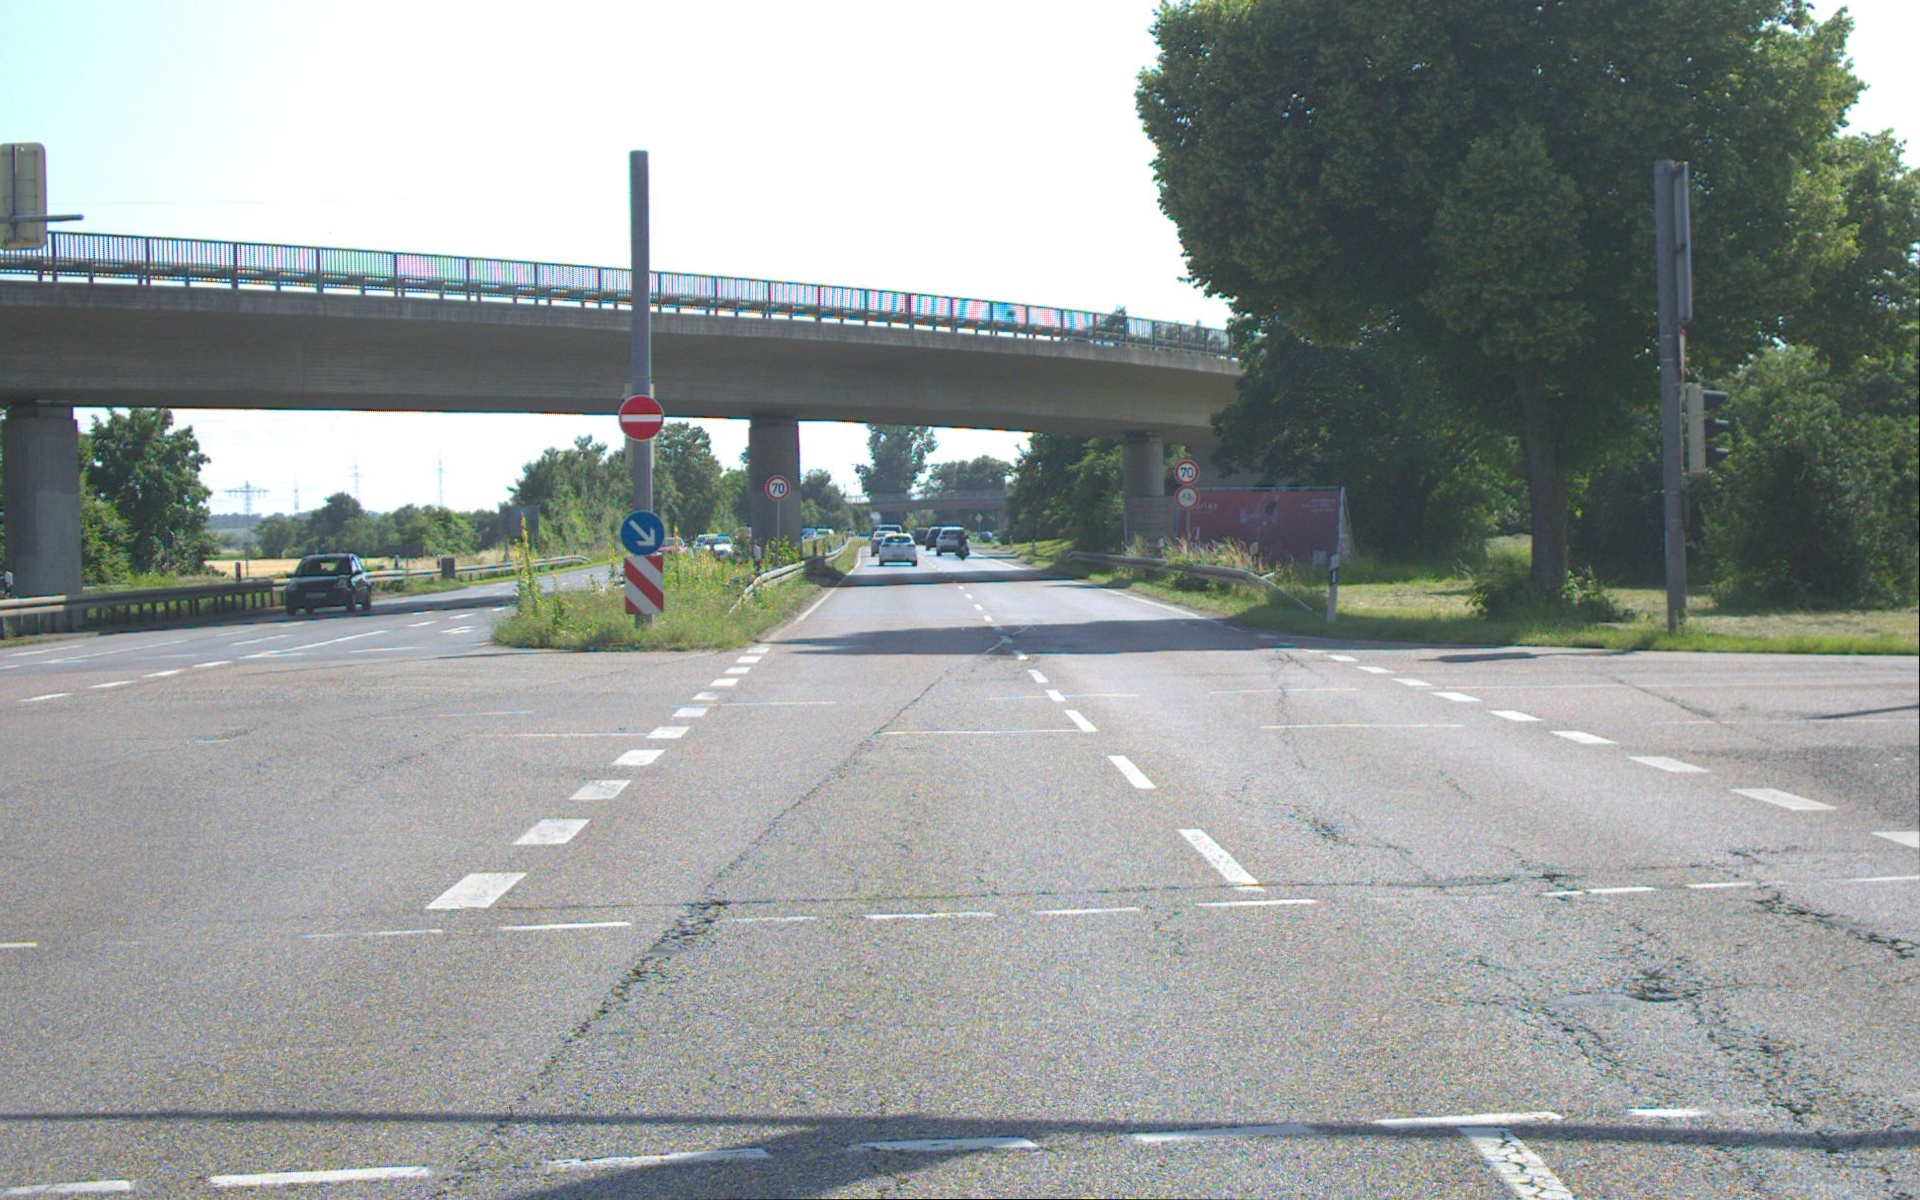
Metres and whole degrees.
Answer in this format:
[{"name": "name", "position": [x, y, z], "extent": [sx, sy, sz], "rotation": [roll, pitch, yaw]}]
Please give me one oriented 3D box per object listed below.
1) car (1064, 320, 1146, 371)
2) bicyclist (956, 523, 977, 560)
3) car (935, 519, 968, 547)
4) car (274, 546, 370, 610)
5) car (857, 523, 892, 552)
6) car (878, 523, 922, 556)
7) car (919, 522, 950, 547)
[{"name": "car", "position": [4.663, -8.154, 110.327], "extent": [1.321, 1.481, 3.193], "rotation": [-1, 1, 28]}, {"name": "bicyclist", "position": [0.340, -3.021, 177.466], "extent": [1.007, 1.880, 1.327], "rotation": [-2, 1, 0]}, {"name": "car", "position": [-0.488, -3.937, 201.725], "extent": [1.873, 1.634, 4.000], "rotation": [0, 1, 1]}, {"name": "car", "position": [-15.757, -0.573, 85.061], "extent": [1.614, 1.437, 3.776], "rotation": [-4, 1, -1]}, {"name": "car", "position": [-4.921, -3.598, 197.949], "extent": [1.873, 1.634, 4.000], "rotation": [0, 1, 1]}, {"name": "car", "position": [-2.668, -2.712, 154.614], "extent": [1.851, 1.456, 4.000], "rotation": [0, 1, 1]}, {"name": "car", "position": [-1.748, -4.476, 234.763], "extent": [1.993, 1.626, 4.000], "rotation": [1, 0, -1]}]
